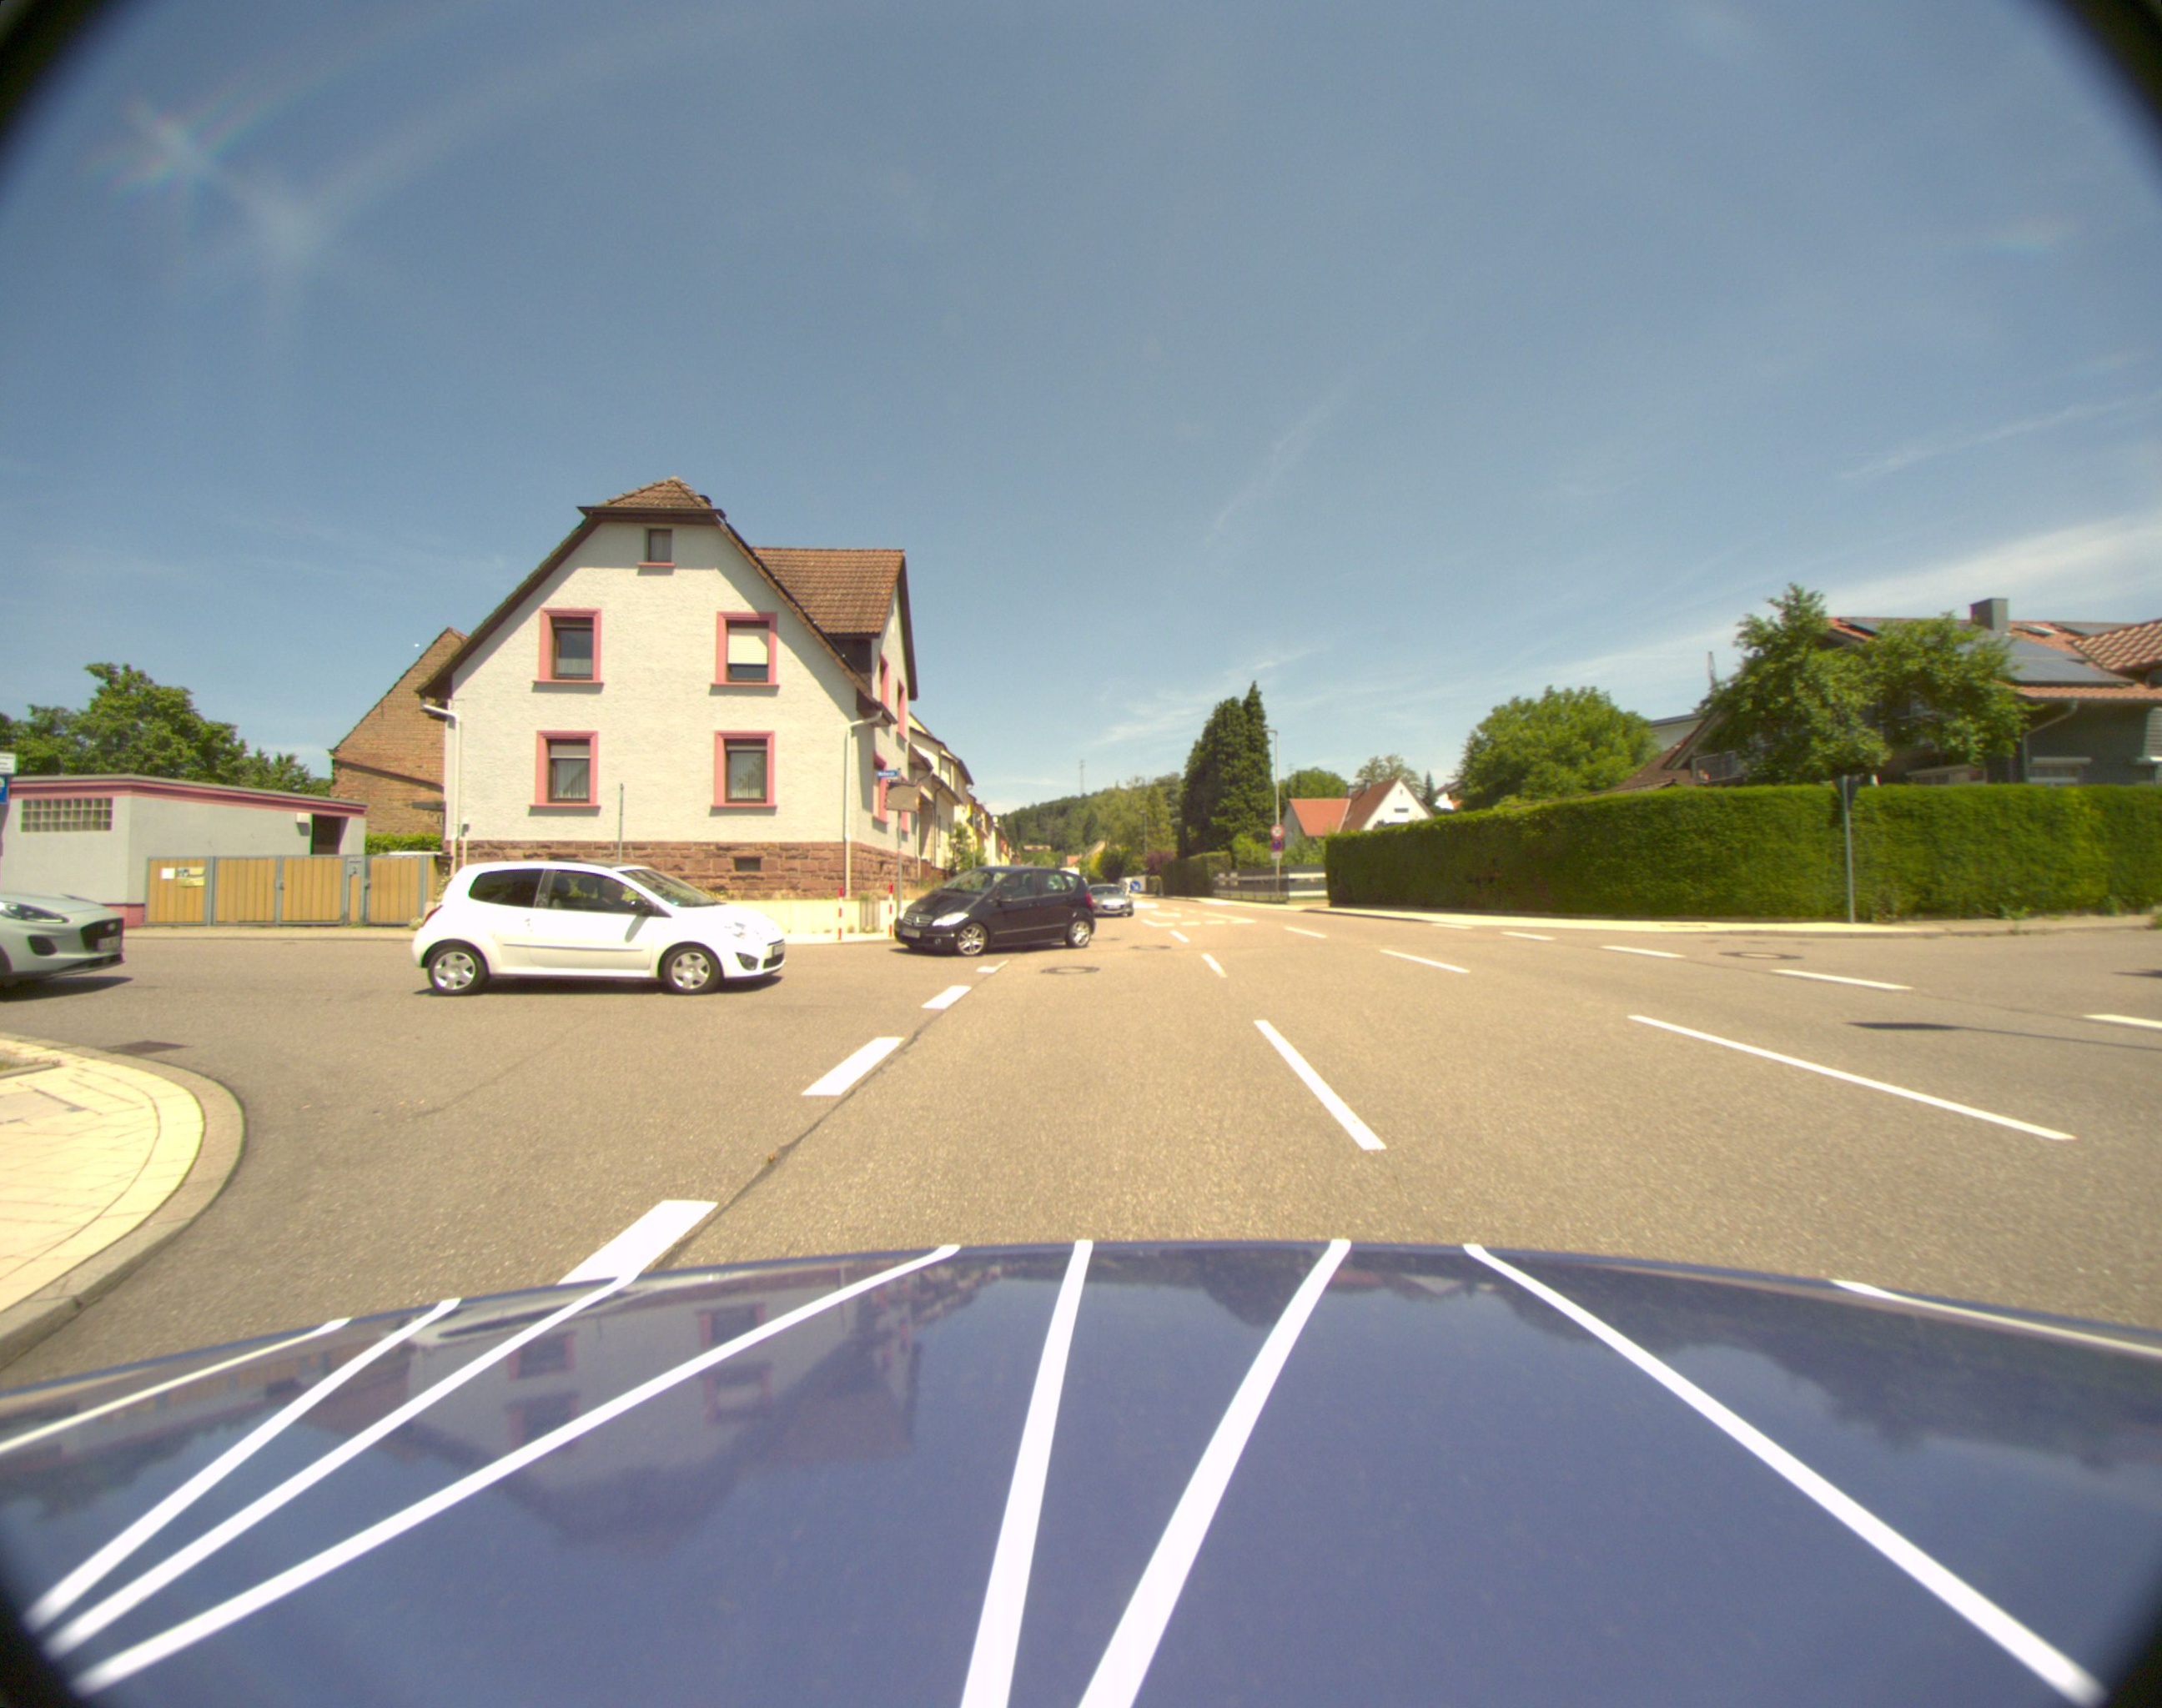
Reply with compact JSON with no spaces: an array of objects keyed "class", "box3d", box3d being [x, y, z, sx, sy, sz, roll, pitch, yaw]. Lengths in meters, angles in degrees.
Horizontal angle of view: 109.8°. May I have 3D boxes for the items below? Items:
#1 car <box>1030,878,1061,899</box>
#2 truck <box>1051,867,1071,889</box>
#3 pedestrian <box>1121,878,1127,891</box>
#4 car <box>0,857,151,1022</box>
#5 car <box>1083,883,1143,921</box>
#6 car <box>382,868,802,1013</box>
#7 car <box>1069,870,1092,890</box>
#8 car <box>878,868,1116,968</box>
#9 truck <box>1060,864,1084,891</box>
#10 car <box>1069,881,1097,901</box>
[{"class":"car","box3d":[-2.709,2.661,59.392,1.998,1.509,4.146,3,-2,2]},{"class":"truck","box3d":[-3.458,4.027,127.809,3.150,3.465,8.273,-1,-2,-3]},{"class":"pedestrian","box3d":[5.178,3.696,91.591,0.554,1.477,0.483,-2,-1,6]},{"class":"car","box3d":[-12.028,0.749,6.917,4.135,1.526,1.771,3,-1,-35]},{"class":"car","box3d":[1.149,1.830,29.568,1.911,1.296,4.157,-2,-2,-3]},{"class":"car","box3d":[-5.386,0.924,8.839,3.681,1.470,1.775,1,0,-6]},{"class":"car","box3d":[-0.065,2.670,78.904,1.999,2.001,4.548,-2,-1,-4]},{"class":"car","box3d":[-1.429,1.074,14.169,1.864,1.579,4.166,-3,-3,43]},{"class":"truck","box3d":[-1.286,3.257,102.417,3.150,3.465,8.274,-1,-2,-2]},{"class":"car","box3d":[0.117,2.900,59.634,1.865,1.440,4.000,-2,-2,-4]}]
